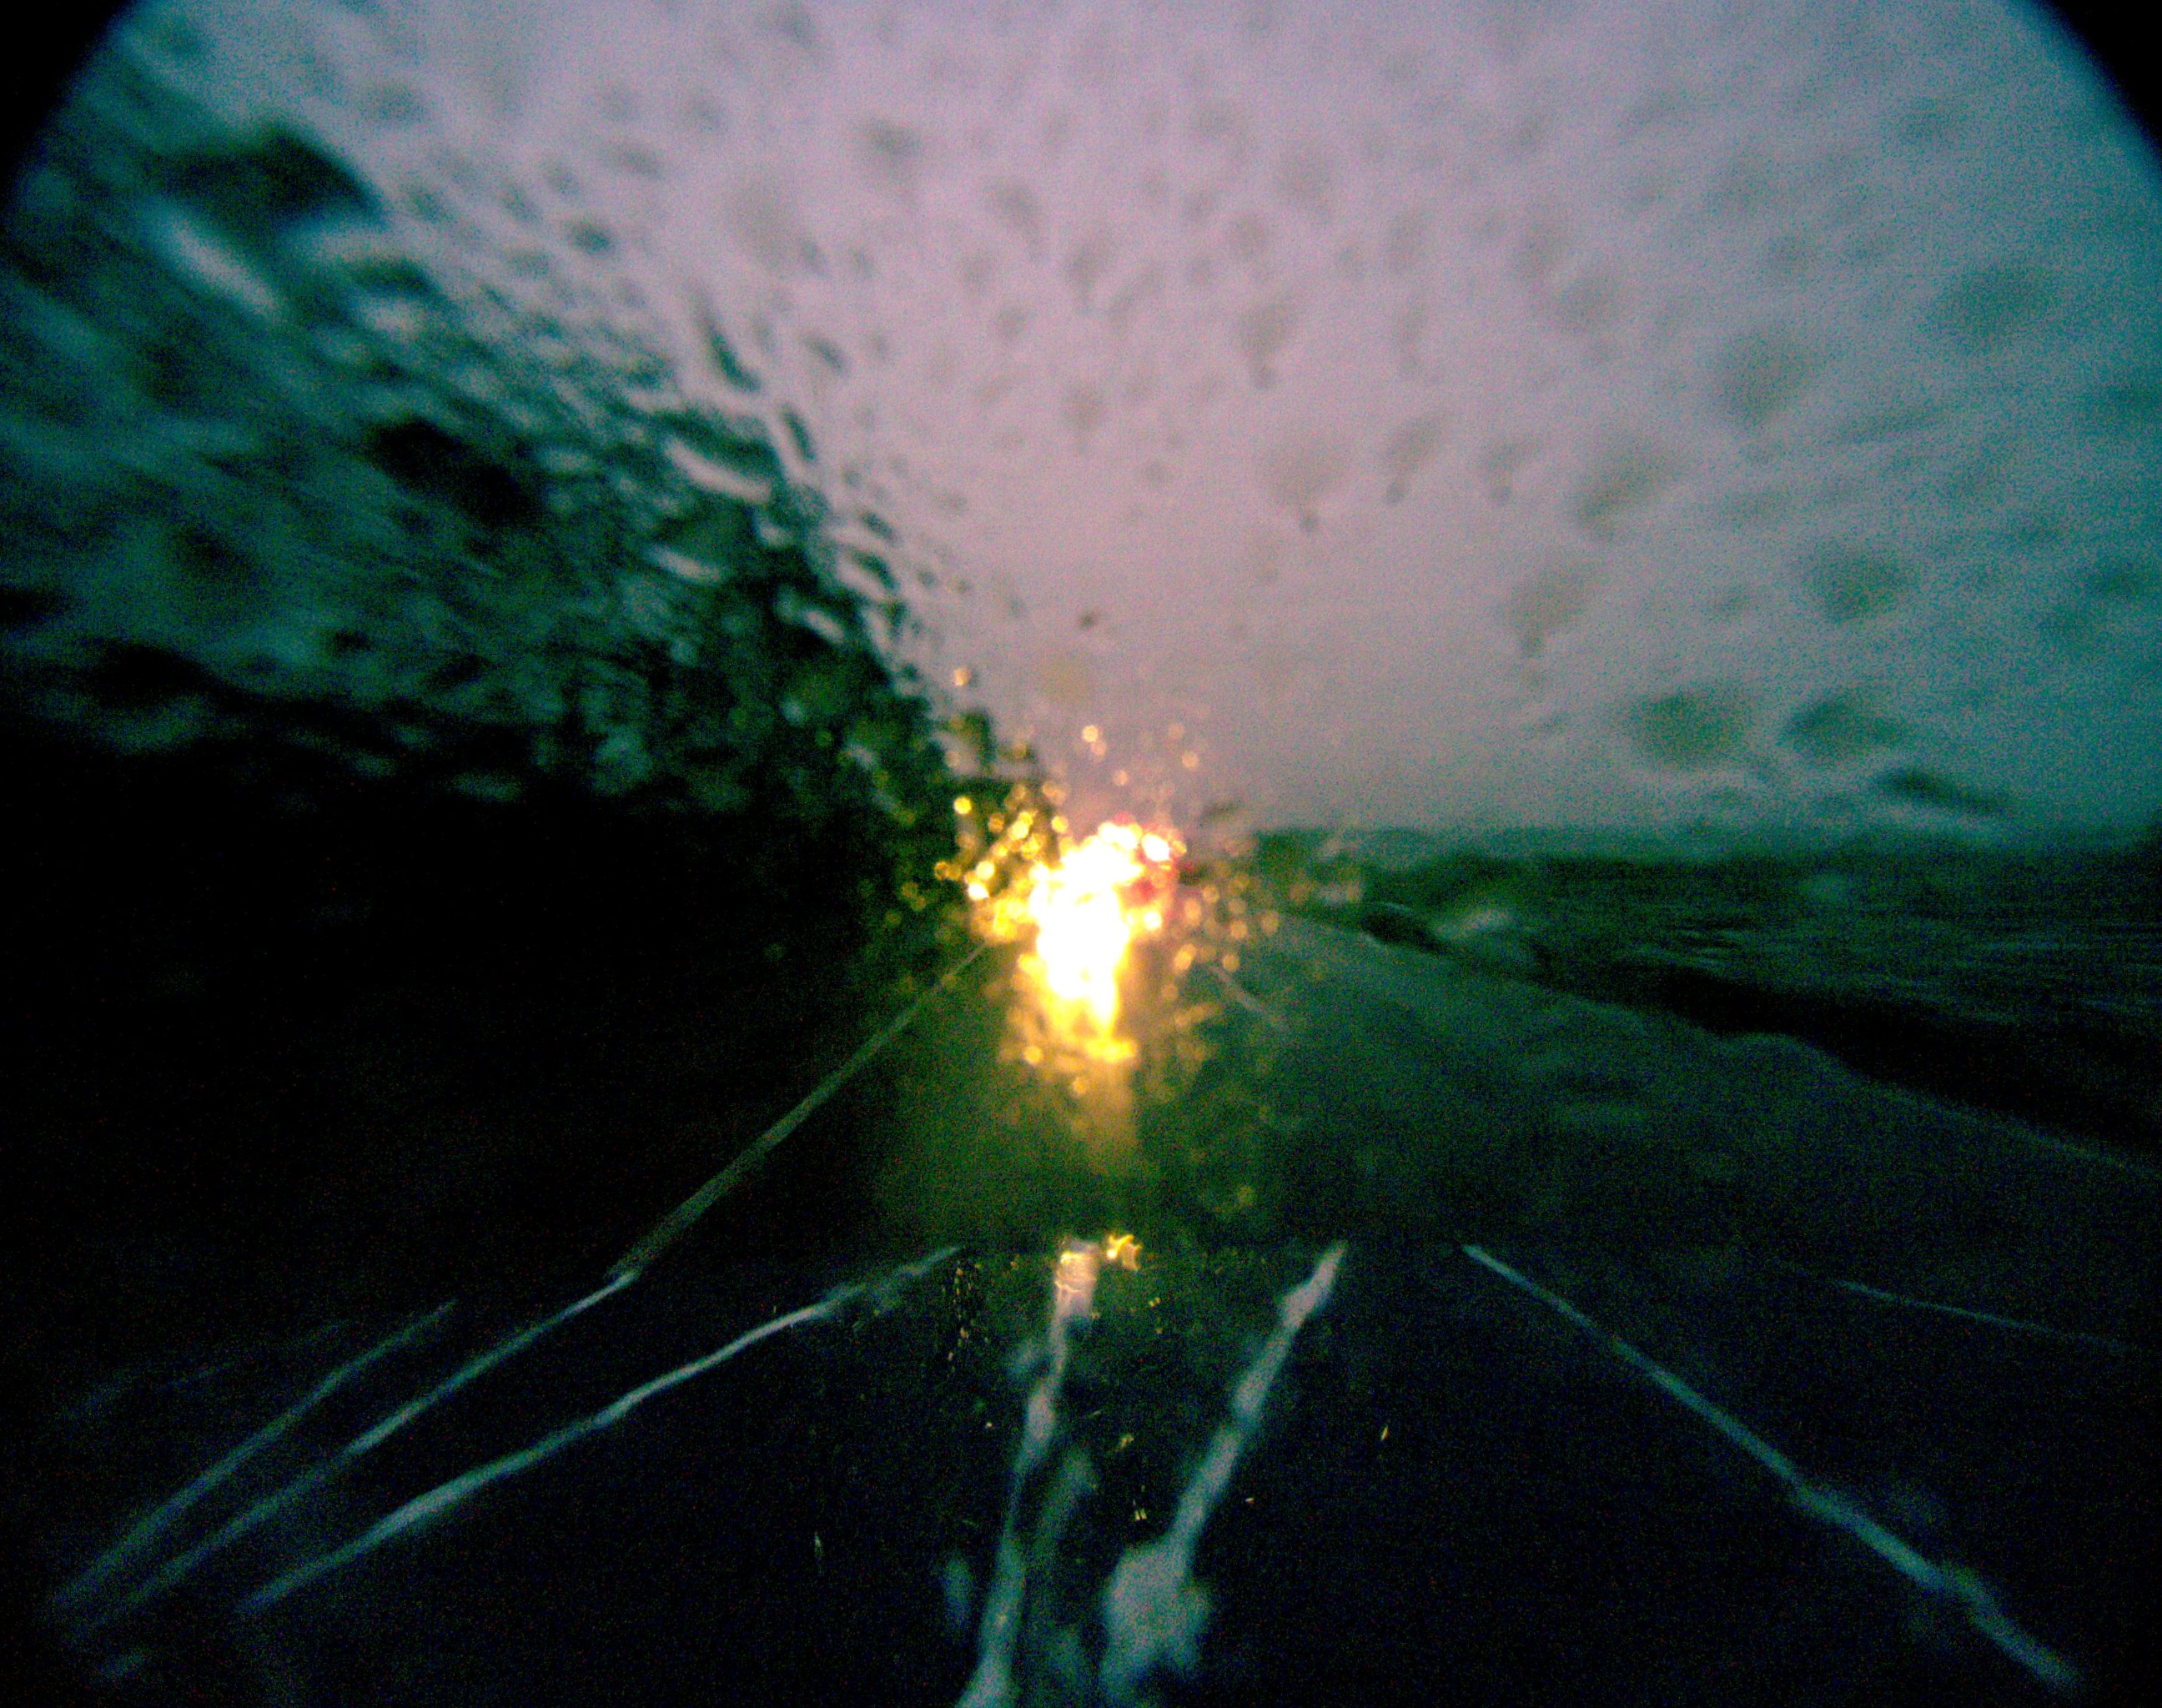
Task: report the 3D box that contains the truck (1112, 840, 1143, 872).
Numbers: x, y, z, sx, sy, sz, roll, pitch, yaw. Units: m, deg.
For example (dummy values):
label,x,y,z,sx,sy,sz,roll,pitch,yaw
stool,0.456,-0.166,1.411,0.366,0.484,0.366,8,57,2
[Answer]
label,x,y,z,sx,sy,sz,roll,pitch,yaw
truck,4.076,0.150,68.159,2.275,2.619,7.034,2,0,0

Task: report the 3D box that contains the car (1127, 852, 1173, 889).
label,x,y,z,sx,sy,sz,roll,pitch,yaw
car,3.561,0.817,39.624,1.998,1.812,4.000,1,0,0

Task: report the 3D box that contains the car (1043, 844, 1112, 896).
label,x,y,z,sx,sy,sz,roll,pitch,yaw
car,-0.073,0.621,33.539,2.704,1.974,5.804,-3,1,1

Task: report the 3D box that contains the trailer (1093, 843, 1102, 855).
label,x,y,z,sx,sy,sz,roll,pitch,yaw
trailer,5.643,-1.651,262.716,2.708,4.056,12.380,-1,0,0

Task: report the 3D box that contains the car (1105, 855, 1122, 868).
label,x,y,z,sx,sy,sz,roll,pitch,yaw
car,3.707,0.833,87.993,1.732,1.405,4.022,2,0,0
